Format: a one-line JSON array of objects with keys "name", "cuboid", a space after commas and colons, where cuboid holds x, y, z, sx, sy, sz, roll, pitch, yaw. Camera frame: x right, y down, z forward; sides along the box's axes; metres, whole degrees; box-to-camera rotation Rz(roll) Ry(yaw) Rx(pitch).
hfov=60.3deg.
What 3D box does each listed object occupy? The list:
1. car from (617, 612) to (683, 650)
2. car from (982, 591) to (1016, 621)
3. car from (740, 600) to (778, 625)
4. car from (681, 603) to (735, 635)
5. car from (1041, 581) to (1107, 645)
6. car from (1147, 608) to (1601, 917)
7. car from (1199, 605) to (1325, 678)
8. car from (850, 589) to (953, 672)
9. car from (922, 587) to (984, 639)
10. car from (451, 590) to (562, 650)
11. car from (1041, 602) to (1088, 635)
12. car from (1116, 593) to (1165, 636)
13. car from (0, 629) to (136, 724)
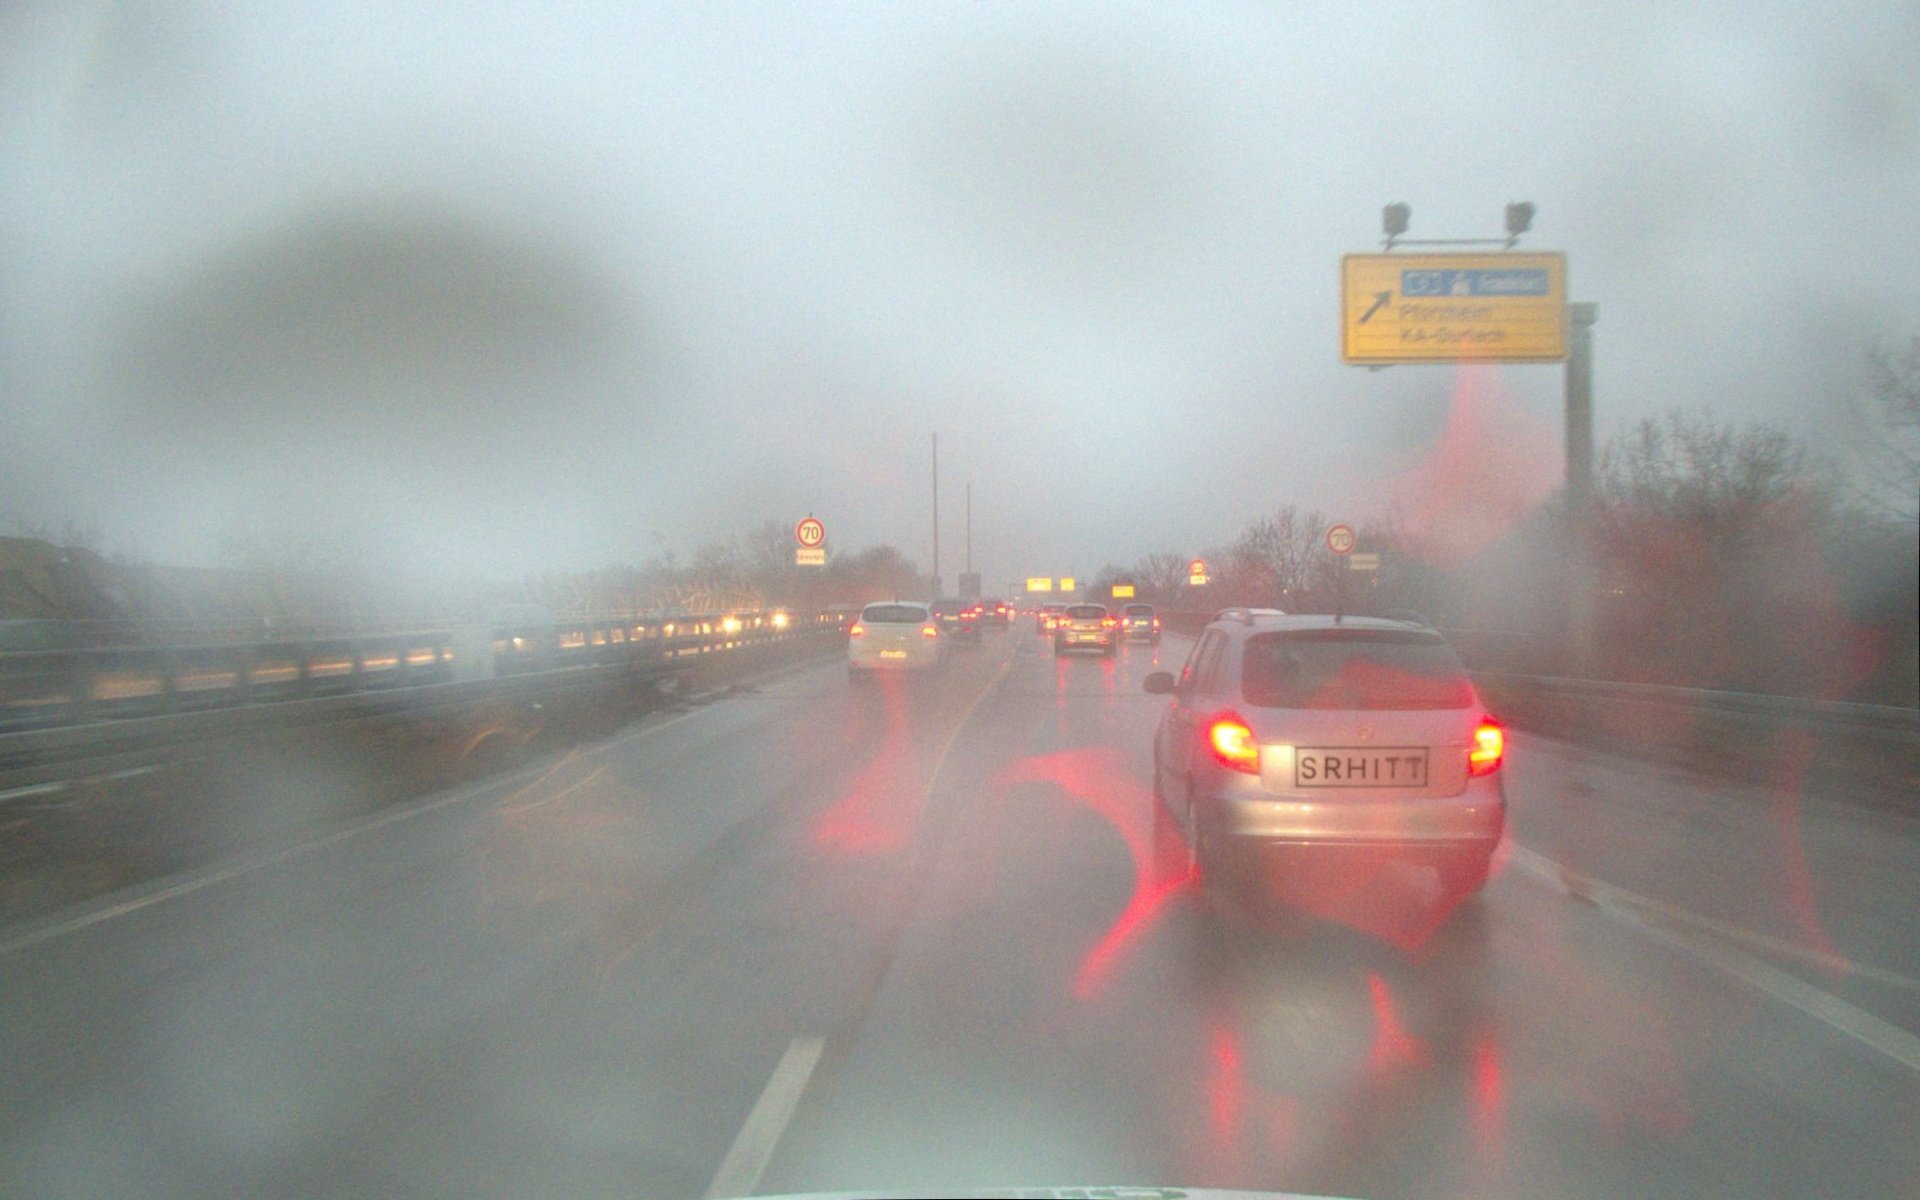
[{"name": "car", "cuboid": [-13.062, 1.272, 69.911, 1.855, 1.490, 4.460, -1, 0, 1]}, {"name": "car", "cuboid": [2.155, 0.306, 90.398, 1.752, 1.572, 4.001, 1, 0, 3]}, {"name": "car", "cuboid": [-12.450, 0.753, 102.577, 1.855, 1.490, 4.000, -1, 0, 0]}, {"name": "car", "cuboid": [-12.594, 0.921, 82.849, 1.855, 1.490, 4.830, -1, 0, 1]}, {"name": "car", "cuboid": [3.356, 0.372, 49.213, 1.857, 1.798, 4.310, 1, 0, 3]}, {"name": "car", "cuboid": [2.287, 0.822, 10.299, 1.952, 1.527, 4.139, 0, 0, 3]}, {"name": "car", "cuboid": [6.121, 0.806, 33.943, 1.952, 1.369, 4.001, 0, 0, 2]}, {"name": "car", "cuboid": [-1.055, 0.538, 31.862, 1.688, 1.465, 4.227, 1, 0, 2]}, {"name": "car", "cuboid": [-0.284, 0.408, 55.395, 1.953, 1.629, 4.307, 1, 0, -2]}, {"name": "car", "cuboid": [-12.649, 0.531, 46.448, 1.749, 1.592, 4.851, 0, 0, 0]}, {"name": "car", "cuboid": [5.047, 0.884, 80.423, 1.754, 1.572, 3.997, 0, 0, -4]}, {"name": "car", "cuboid": [6.946, 0.521, 63.387, 1.751, 1.572, 4.003, -1, 0, 8]}, {"name": "car", "cuboid": [-15.840, 1.237, 27.379, 1.748, 1.428, 4.313, 0, 0, 9]}]
